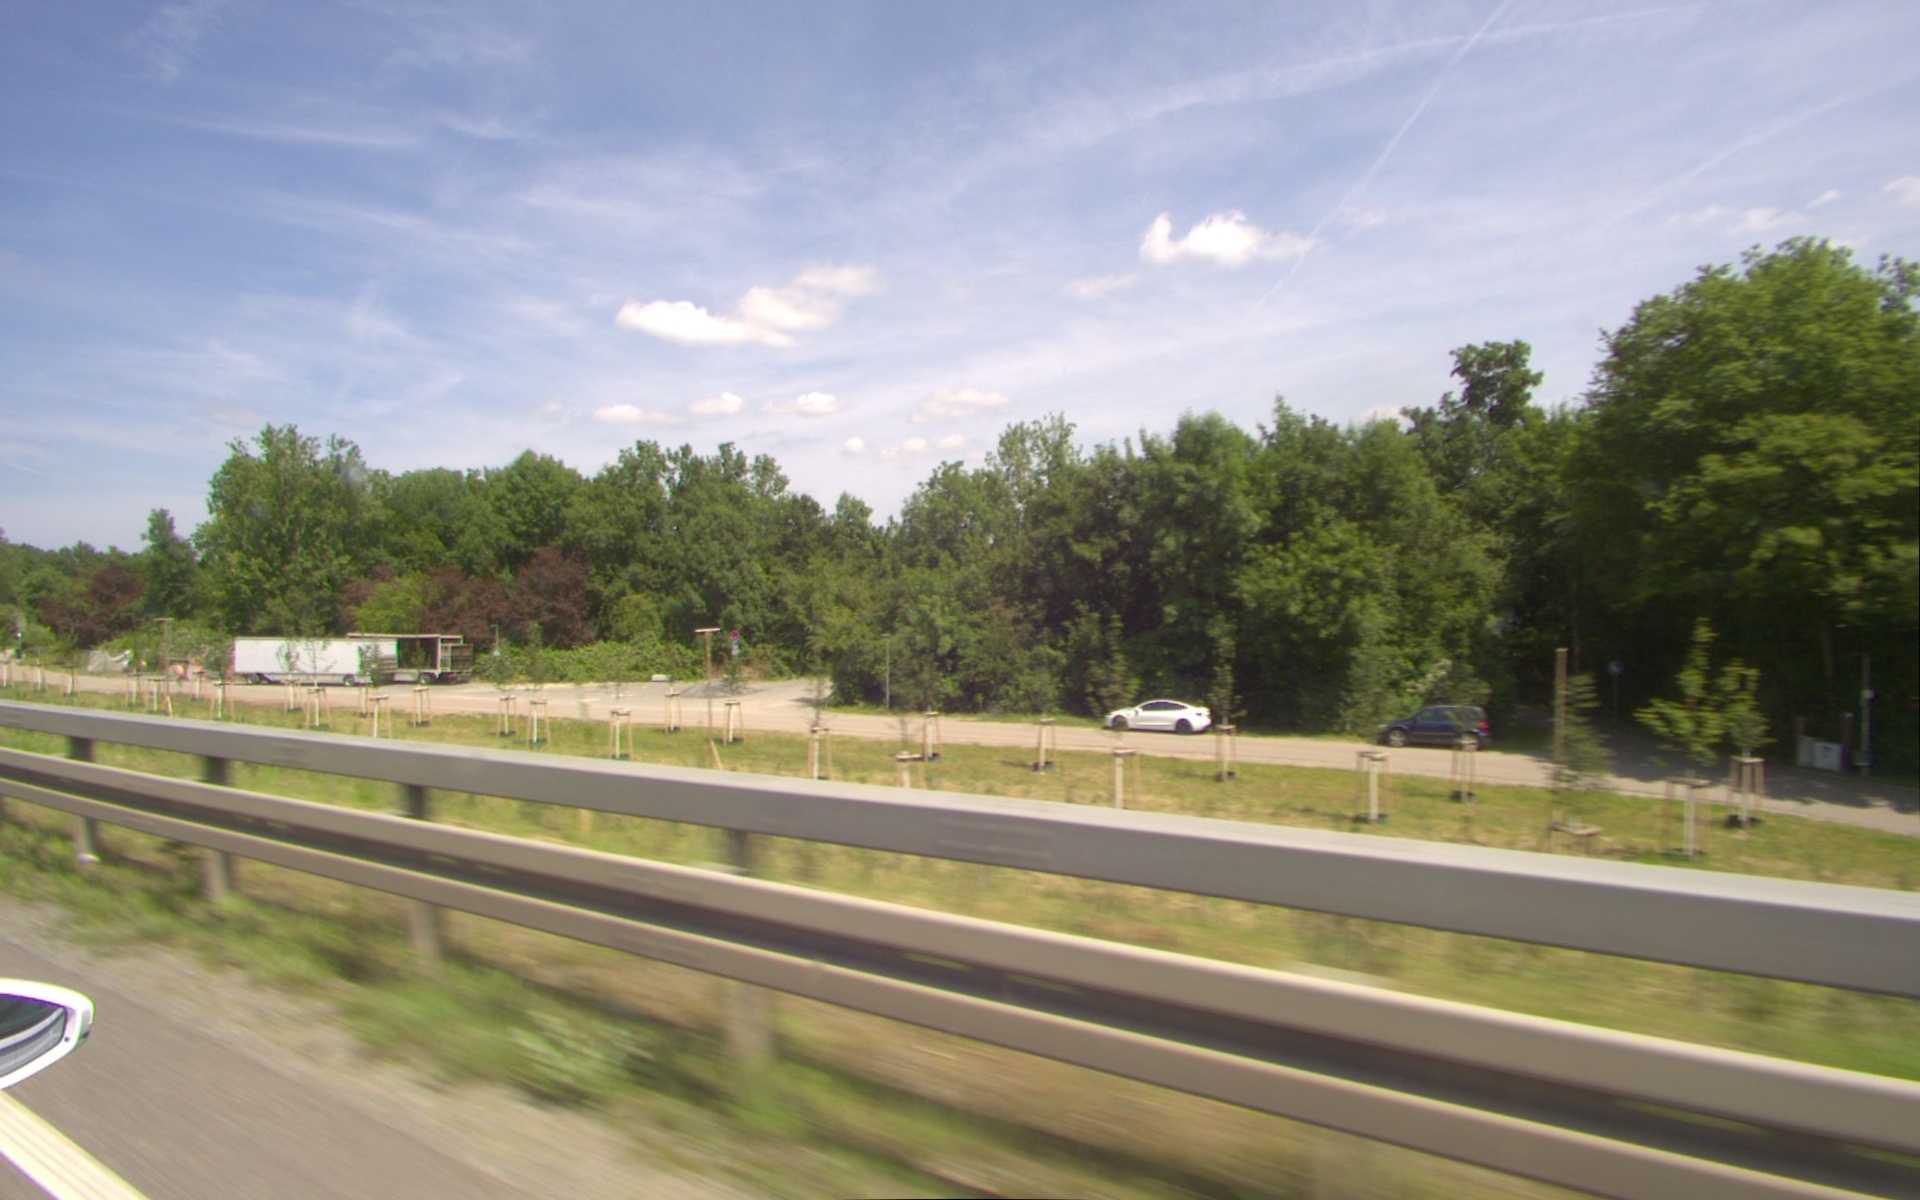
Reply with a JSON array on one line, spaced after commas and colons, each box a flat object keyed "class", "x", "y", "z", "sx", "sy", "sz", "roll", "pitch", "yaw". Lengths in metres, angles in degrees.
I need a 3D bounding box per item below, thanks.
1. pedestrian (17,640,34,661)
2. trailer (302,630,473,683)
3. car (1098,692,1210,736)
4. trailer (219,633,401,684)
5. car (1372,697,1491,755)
[{"class": "pedestrian", "x": -85.486, "y": 4.618, "z": 91.600, "sx": 0.946, "sy": 1.836, "sz": 0.882, "roll": 0, "pitch": 3, "yaw": 33}, {"class": "trailer", "x": -41.907, "y": 4.070, "z": 73.359, "sx": 11.666, "sy": 3.652, "sz": 2.728, "roll": 0, "pitch": -1, "yaw": 8}, {"class": "car", "x": 8.562, "y": 5.003, "z": 44.285, "sx": 4.533, "sy": 1.503, "sz": 1.856, "roll": 0, "pitch": 3, "yaw": 26}, {"class": "trailer", "x": -45.884, "y": 4.072, "z": 70.793, "sx": 11.664, "sy": 3.371, "sz": 2.727, "roll": 0, "pitch": -1, "yaw": 6}, {"class": "car", "x": 18.504, "y": 4.893, "z": 39.313, "sx": 4.134, "sy": 1.706, "sz": 1.855, "roll": 1, "pitch": 3, "yaw": 28}]
